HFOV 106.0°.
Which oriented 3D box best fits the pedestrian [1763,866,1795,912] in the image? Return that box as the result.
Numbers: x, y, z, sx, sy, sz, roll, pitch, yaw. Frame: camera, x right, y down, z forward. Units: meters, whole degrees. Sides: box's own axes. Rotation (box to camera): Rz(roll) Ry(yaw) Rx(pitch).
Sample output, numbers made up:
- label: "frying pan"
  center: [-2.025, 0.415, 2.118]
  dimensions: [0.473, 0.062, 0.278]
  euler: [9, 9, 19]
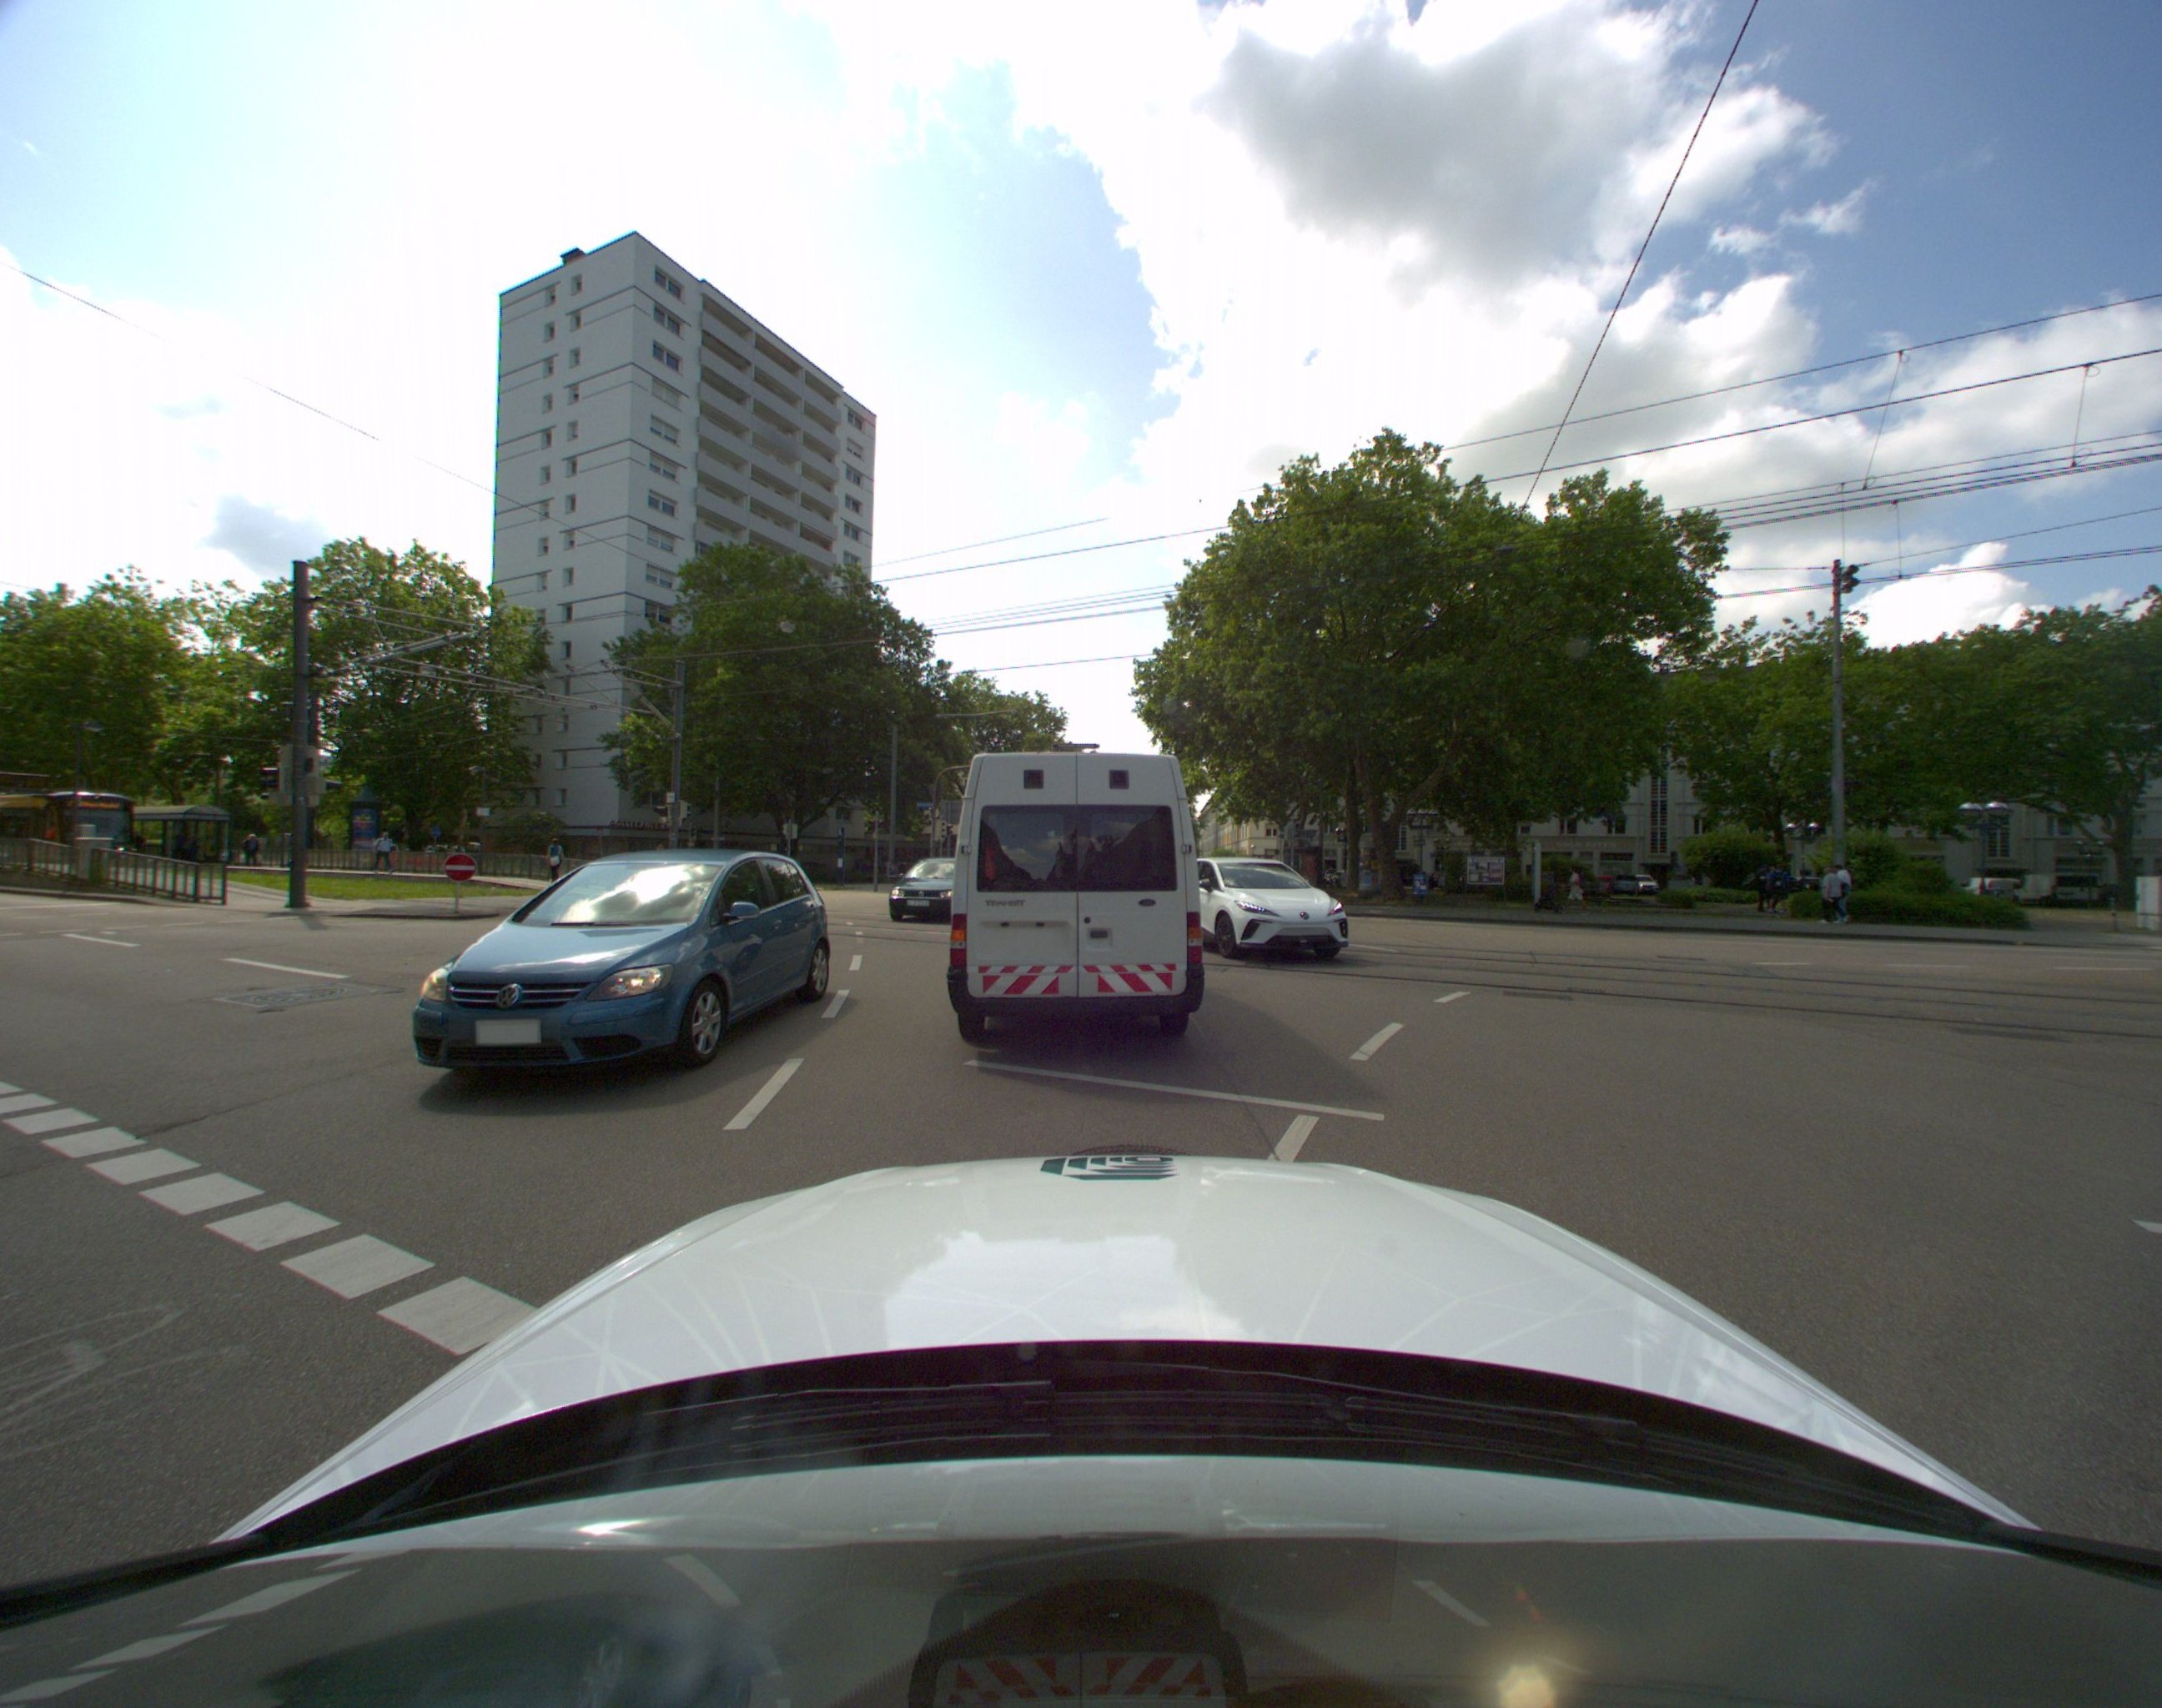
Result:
- label: "pedestrian"
  center: [26.657, 1.331, 31.099]
  dimensions: [0.694, 1.750, 0.606]
  euler: [1, -1, 2]

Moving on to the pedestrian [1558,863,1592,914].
- label: "pedestrian"
  center: [16.455, 1.143, 27.139]
  dimensions: [0.911, 1.646, 0.573]
  euler: [1, -1, 27]

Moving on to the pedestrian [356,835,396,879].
- label: "pedestrian"
  center: [-28.774, 0.115, 33.248]
  dimensions: [1.032, 1.780, 0.856]
  euler: [1, -1, 26]

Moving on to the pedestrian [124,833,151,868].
- label: "pedestrian"
  center: [-50.506, -0.200, 43.593]
  dimensions: [0.779, 1.849, 0.707]
  euler: [0, -1, 25]

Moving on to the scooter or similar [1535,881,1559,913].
- label: "scooter or similar"
  center: [15.744, 1.446, 27.522]
  dimensions: [0.699, 1.056, 0.494]
  euler: [1, -1, 27]

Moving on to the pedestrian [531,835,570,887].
- label: "pedestrian"
  center: [-19.880, 0.258, 30.530]
  dimensions: [0.836, 1.899, 0.834]
  euler: [0, -1, 26]

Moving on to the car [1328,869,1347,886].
- label: "car"
  center: [21.428, 1.971, 67.949]
  dimensions: [1.453, 1.389, 3.251]
  euler: [1, -1, 19]

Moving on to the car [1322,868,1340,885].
- label: "car"
  center: [24.444, 2.181, 79.558]
  dimensions: [1.453, 1.666, 3.083]
  euler: [1, -1, 22]

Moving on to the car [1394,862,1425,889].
- label: "car"
  center: [26.660, 1.729, 65.978]
  dimensions: [1.975, 2.076, 4.023]
  euler: [1, -1, 26]

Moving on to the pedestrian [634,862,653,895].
- label: "pedestrian"
  center: [-14.515, 0.804, 27.026]
  dimensions: [0.423, 1.063, 0.431]
  euler: [2, -1, -44]

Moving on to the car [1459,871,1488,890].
- label: "car"
  center: [30.971, 2.098, 64.197]
  dimensions: [1.975, 1.422, 4.023]
  euler: [1, -1, 26]

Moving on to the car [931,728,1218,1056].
- label: "car"
  center: [-0.153, 0.286, 8.225]
  dimensions: [2.042, 2.333, 4.709]
  euler: [1, 0, -3]

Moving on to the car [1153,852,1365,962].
- label: "car"
  center: [2.683, 0.744, 13.336]
  dimensions: [1.816, 1.506, 4.112]
  euler: [1, -1, -13]

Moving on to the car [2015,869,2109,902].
- label: "car"
  center: [60.127, 1.908, 50.030]
  dimensions: [2.078, 1.905, 4.518]
  euler: [0, -1, 28]

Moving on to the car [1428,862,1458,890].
- label: "car"
  center: [28.707, 1.738, 64.588]
  dimensions: [1.975, 2.076, 4.023]
  euler: [1, -1, 26]

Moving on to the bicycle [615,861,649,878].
- label: "bicycle"
  center: [-27.452, 0.947, 49.814]
  dimensions: [1.736, 1.009, 0.528]
  euler: [2, -1, -37]

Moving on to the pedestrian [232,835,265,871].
- label: "pedestrian"
  center: [-41.588, -0.047, 40.698]
  dimensions: [0.866, 1.775, 0.865]
  euler: [0, -1, 26]

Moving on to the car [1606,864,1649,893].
- label: "car"
  center: [40.237, 1.776, 60.054]
  dimensions: [1.976, 2.014, 4.022]
  euler: [0, -1, 24]

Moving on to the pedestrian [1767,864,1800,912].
- label: "pedestrian"
  center: [25.745, 1.233, 29.847]
  dimensions: [0.694, 1.750, 0.606]
  euler: [1, -1, 2]

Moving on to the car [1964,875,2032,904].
- label: "car"
  center: [66.387, 2.548, 59.020]
  dimensions: [1.975, 1.964, 4.024]
  euler: [0, -1, 28]

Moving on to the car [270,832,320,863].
- label: "car"
  center: [-73.115, -0.625, 75.747]
  dimensions: [4.226, 2.775, 1.823]
  euler: [1, -1, 25]

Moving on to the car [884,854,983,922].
- label: "car"
  center: [-3.403, 0.734, 19.392]
  dimensions: [1.708, 1.433, 3.816]
  euler: [1, 0, -2]

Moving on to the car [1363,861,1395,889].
- label: "car"
  center: [24.395, 1.704, 66.556]
  dimensions: [1.975, 2.183, 4.282]
  euler: [1, -1, 26]

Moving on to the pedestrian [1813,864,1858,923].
- label: "pedestrian"
  center: [22.683, 1.179, 24.489]
  dimensions: [0.714, 1.722, 0.693]
  euler: [1, -1, 2]

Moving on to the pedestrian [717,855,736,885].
- label: "pedestrian"
  center: [-19.197, 0.852, 44.124]
  dimensions: [0.775, 1.599, 0.538]
  euler: [1, -1, 23]

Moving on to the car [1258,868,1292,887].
- label: "car"
  center: [16.929, 2.013, 70.949]
  dimensions: [2.009, 1.600, 4.564]
  euler: [0, -1, 24]

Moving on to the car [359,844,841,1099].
- label: "car"
  center: [-3.498, 0.730, 6.921]
  dimensions: [1.742, 1.540, 3.930]
  euler: [1, 0, 0]

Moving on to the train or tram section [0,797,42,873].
- label: "train or tram section"
  center: [-55.928, -0.952, 40.555]
  dimensions: [10.275, 3.584, 2.821]
  euler: [1, -1, 25]

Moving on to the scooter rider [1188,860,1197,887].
- label: "scooter rider"
  center: [7.779, 1.347, 56.740]
  dimensions: [0.524, 1.812, 0.649]
  euler: [1, -1, 1]

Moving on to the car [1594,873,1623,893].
- label: "car"
  center: [44.845, 2.427, 69.312]
  dimensions: [1.722, 1.637, 4.024]
  euler: [0, -1, 28]

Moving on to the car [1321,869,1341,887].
- label: "car"
  center: [19.837, 1.878, 64.484]
  dimensions: [1.454, 1.389, 3.080]
  euler: [1, -1, 17]

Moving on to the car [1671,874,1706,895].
- label: "car"
  center: [49.779, 2.462, 66.789]
  dimensions: [1.722, 1.637, 4.024]
  euler: [0, -1, 28]

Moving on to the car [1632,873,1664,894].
- label: "car"
  center: [47.358, 2.445, 68.039]
  dimensions: [1.722, 1.637, 4.024]
  euler: [0, -1, 28]

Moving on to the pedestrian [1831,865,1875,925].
- label: "pedestrian"
  center: [23.390, 1.233, 24.680]
  dimensions: [0.665, 1.764, 0.693]
  euler: [1, -1, 2]

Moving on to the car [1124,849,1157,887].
- label: "car"
  center: [4.335, 0.981, 60.195]
  dimensions: [2.112, 2.641, 6.329]
  euler: [1, 0, 1]

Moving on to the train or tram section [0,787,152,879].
- label: "train or tram section"
  center: [-45.510, -0.846, 35.652]
  dimensions: [12.855, 3.584, 2.832]
  euler: [1, -1, 25]

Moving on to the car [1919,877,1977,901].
- label: "car"
  center: [63.992, 2.573, 60.206]
  dimensions: [1.722, 1.637, 4.024]
  euler: [0, -1, 28]

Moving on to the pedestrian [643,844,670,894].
- label: "pedestrian"
  center: [-14.423, 0.511, 27.672]
  dimensions: [0.668, 1.666, 0.629]
  euler: [0, -1, 45]
